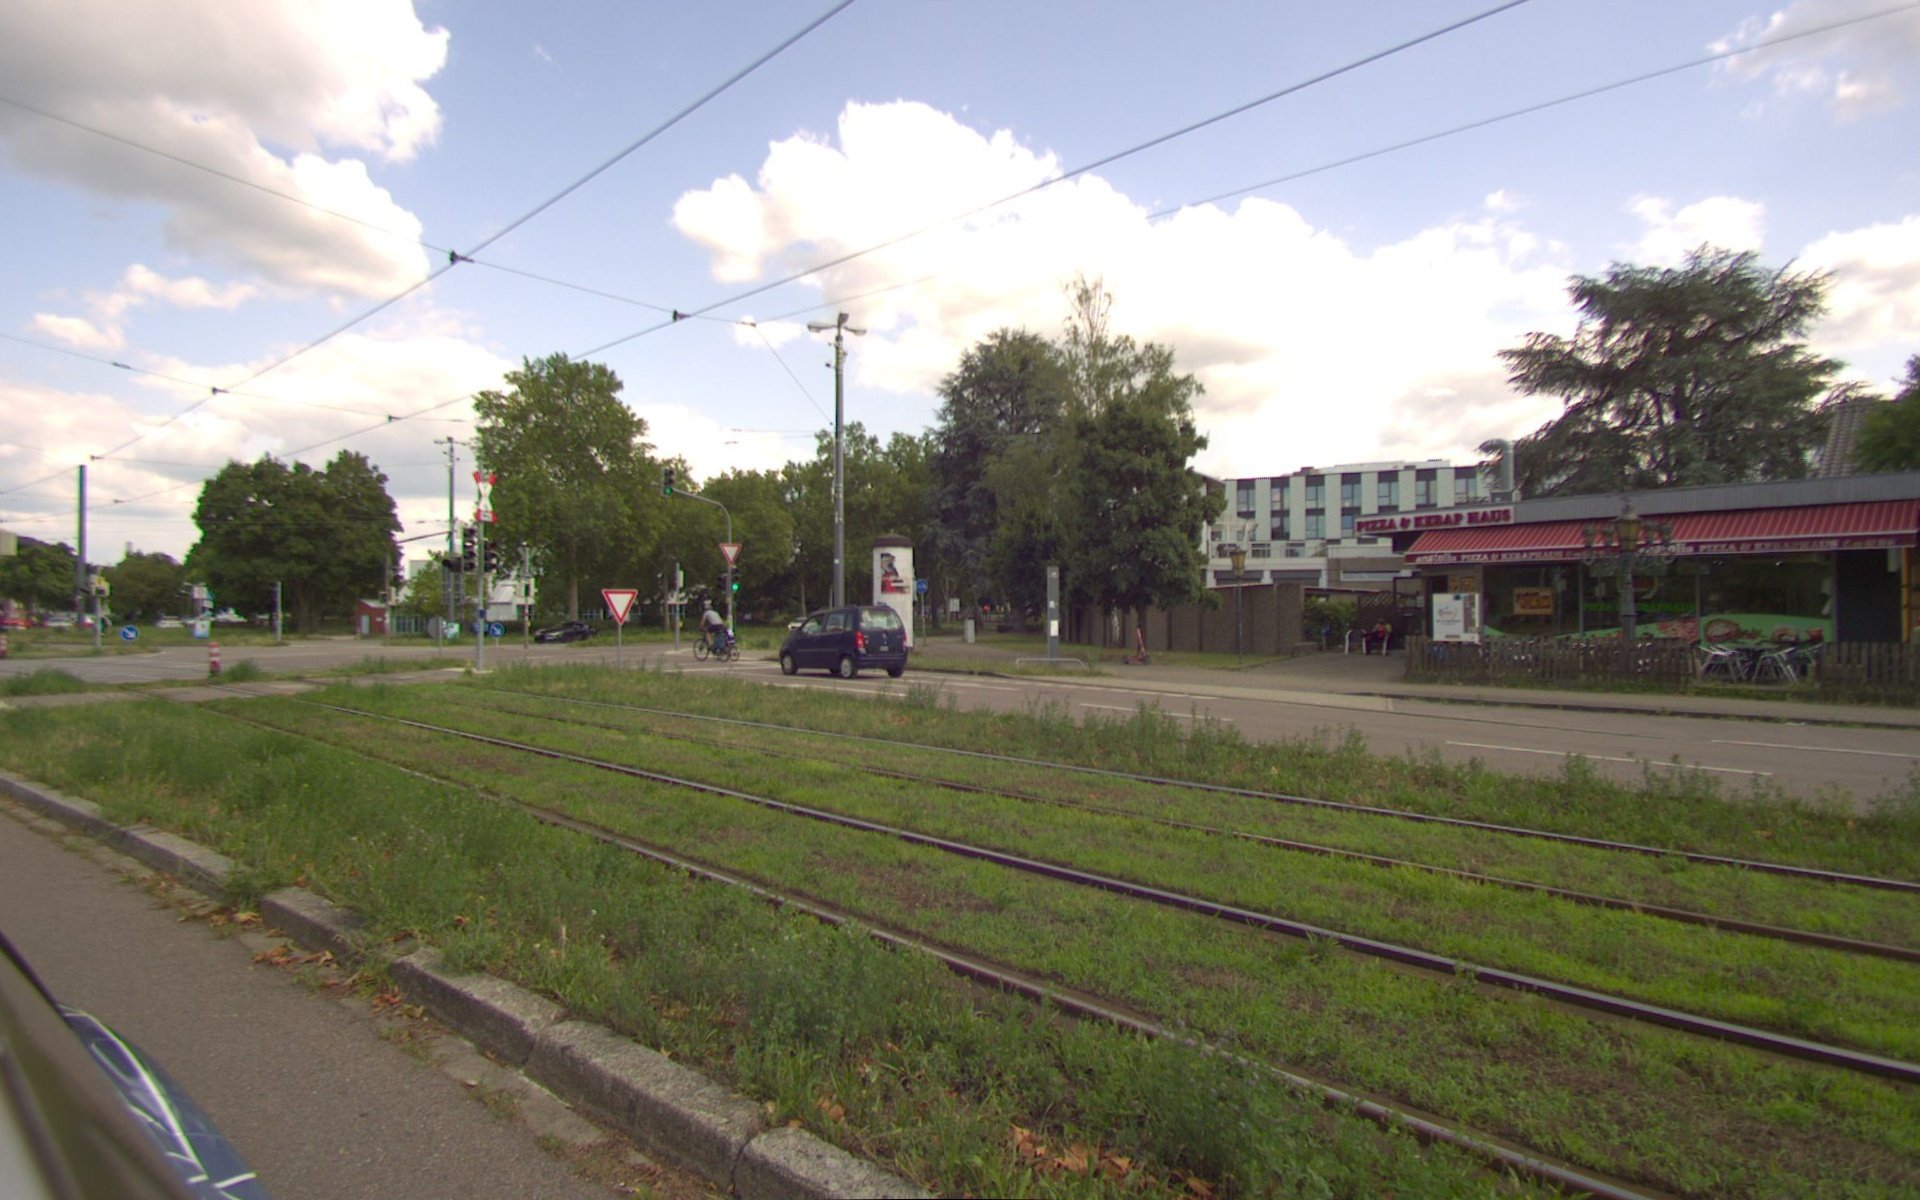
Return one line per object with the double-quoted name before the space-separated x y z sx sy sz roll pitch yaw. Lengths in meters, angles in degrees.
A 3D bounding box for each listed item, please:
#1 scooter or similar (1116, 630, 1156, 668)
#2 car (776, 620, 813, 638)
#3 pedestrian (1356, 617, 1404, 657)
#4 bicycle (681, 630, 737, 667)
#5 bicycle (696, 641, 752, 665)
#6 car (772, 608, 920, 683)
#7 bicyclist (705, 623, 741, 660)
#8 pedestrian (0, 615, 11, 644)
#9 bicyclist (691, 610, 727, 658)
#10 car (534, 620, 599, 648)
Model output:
"scooter or similar" 5.115 1.414 29.476 0.420 1.041 1.226 0 -1 -33
"car" -14.202 2.469 87.129 1.683 1.535 3.892 0 -1 15
"pedestrian" 12.382 1.076 29.836 1.139 1.155 0.933 1 -2 -43
"bicycle" -7.807 1.486 31.449 1.799 1.088 0.640 -1 -1 32
"bicycle" -7.478 1.669 32.024 1.799 0.723 0.640 -1 -1 33
"car" -2.761 1.021 24.075 1.758 1.638 3.499 1 -1 -44
"bicyclist" -7.515 1.308 32.056 0.925 1.121 0.634 -1 -1 32
"pedestrian" -62.347 1.909 65.616 0.996 1.882 0.901 -1 -1 24
"bicyclist" -7.818 1.060 31.482 0.925 1.468 0.618 -1 -1 32
"car" -23.006 1.975 59.358 1.683 1.535 3.839 0 -1 14
